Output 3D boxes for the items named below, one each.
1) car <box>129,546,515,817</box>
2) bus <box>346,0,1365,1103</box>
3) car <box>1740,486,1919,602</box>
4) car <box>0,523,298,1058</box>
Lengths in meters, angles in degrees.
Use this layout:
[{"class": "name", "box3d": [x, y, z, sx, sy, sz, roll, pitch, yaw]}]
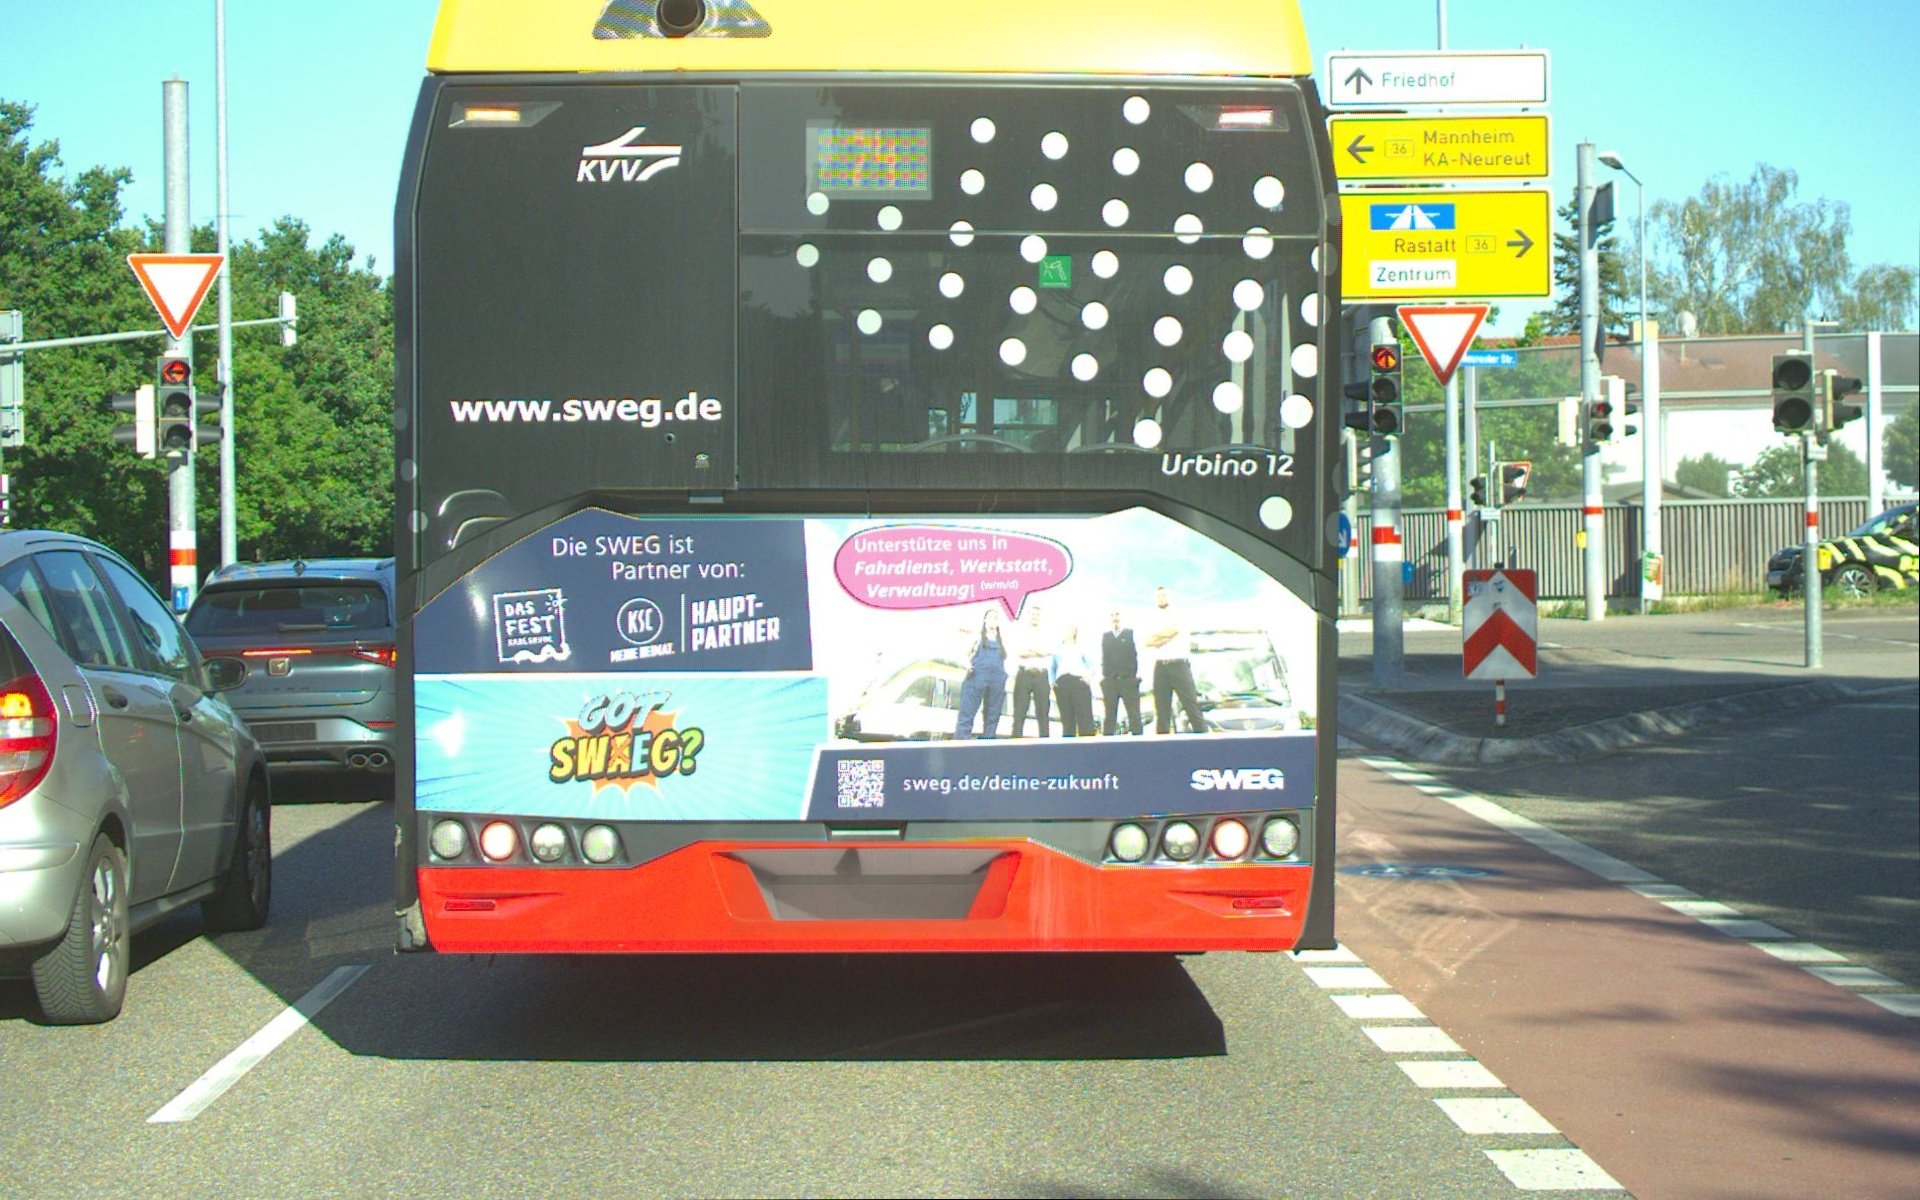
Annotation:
[{"class": "car", "box3d": [-3.812, 0.425, 21.122, 1.692, 1.453, 3.751, -2, 1, -1]}, {"class": "bus", "box3d": [-0.292, -0.406, 14.889, 2.642, 3.156, 11.861, 0, 1, 0]}, {"class": "car", "box3d": [13.159, -0.821, 47.957, 4.066, 1.521, 1.769, -2, 1, -4]}, {"class": "car", "box3d": [-3.605, 0.556, 12.190, 1.761, 1.584, 4.000, -2, 1, -1]}]
